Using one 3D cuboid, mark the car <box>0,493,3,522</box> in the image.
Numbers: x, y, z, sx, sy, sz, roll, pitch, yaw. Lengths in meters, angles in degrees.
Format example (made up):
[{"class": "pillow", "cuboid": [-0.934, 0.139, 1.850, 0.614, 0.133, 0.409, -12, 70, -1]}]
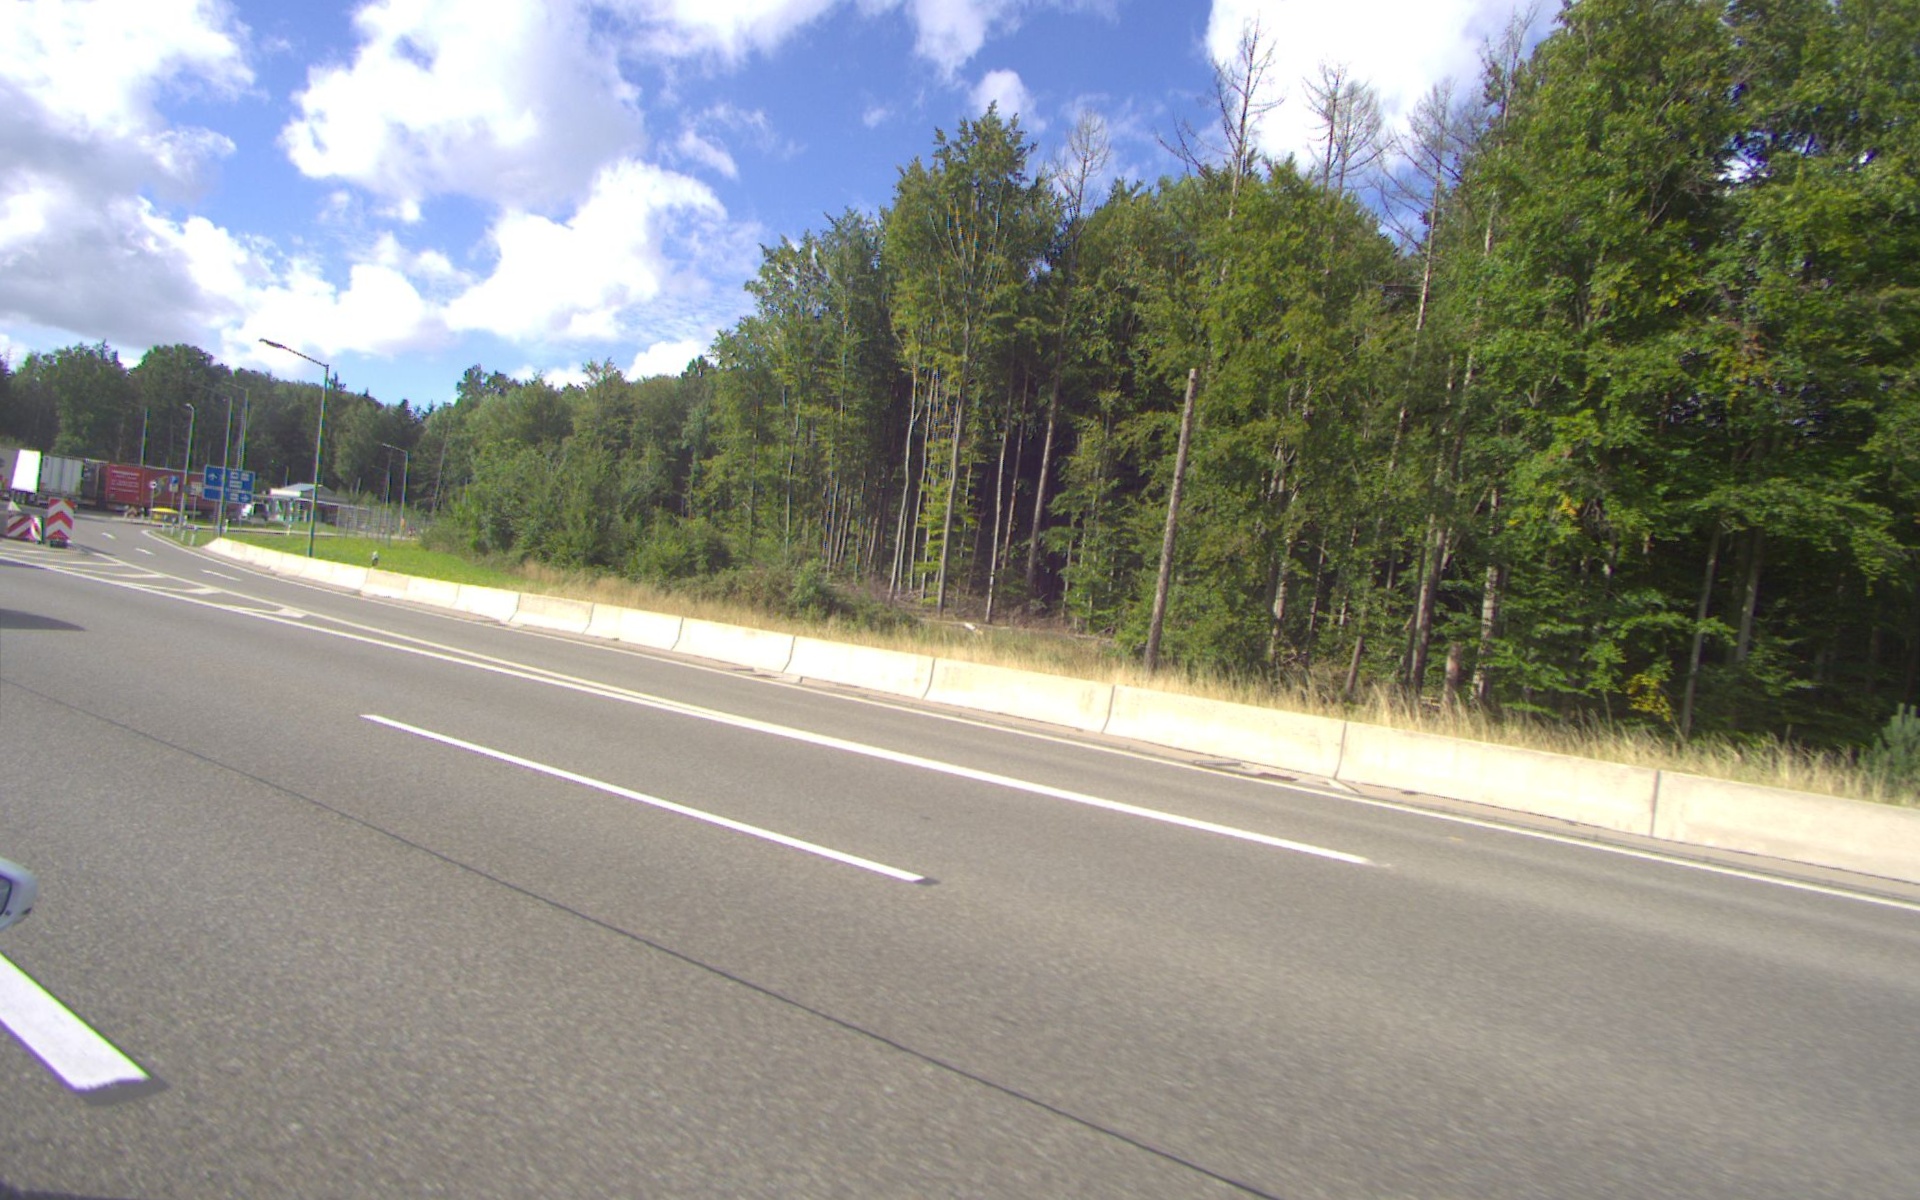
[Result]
[{"class": "car", "cuboid": [-23.375, -1.826, 22.263, 4.226, 1.530, 1.719, 6, -1, 26]}]
